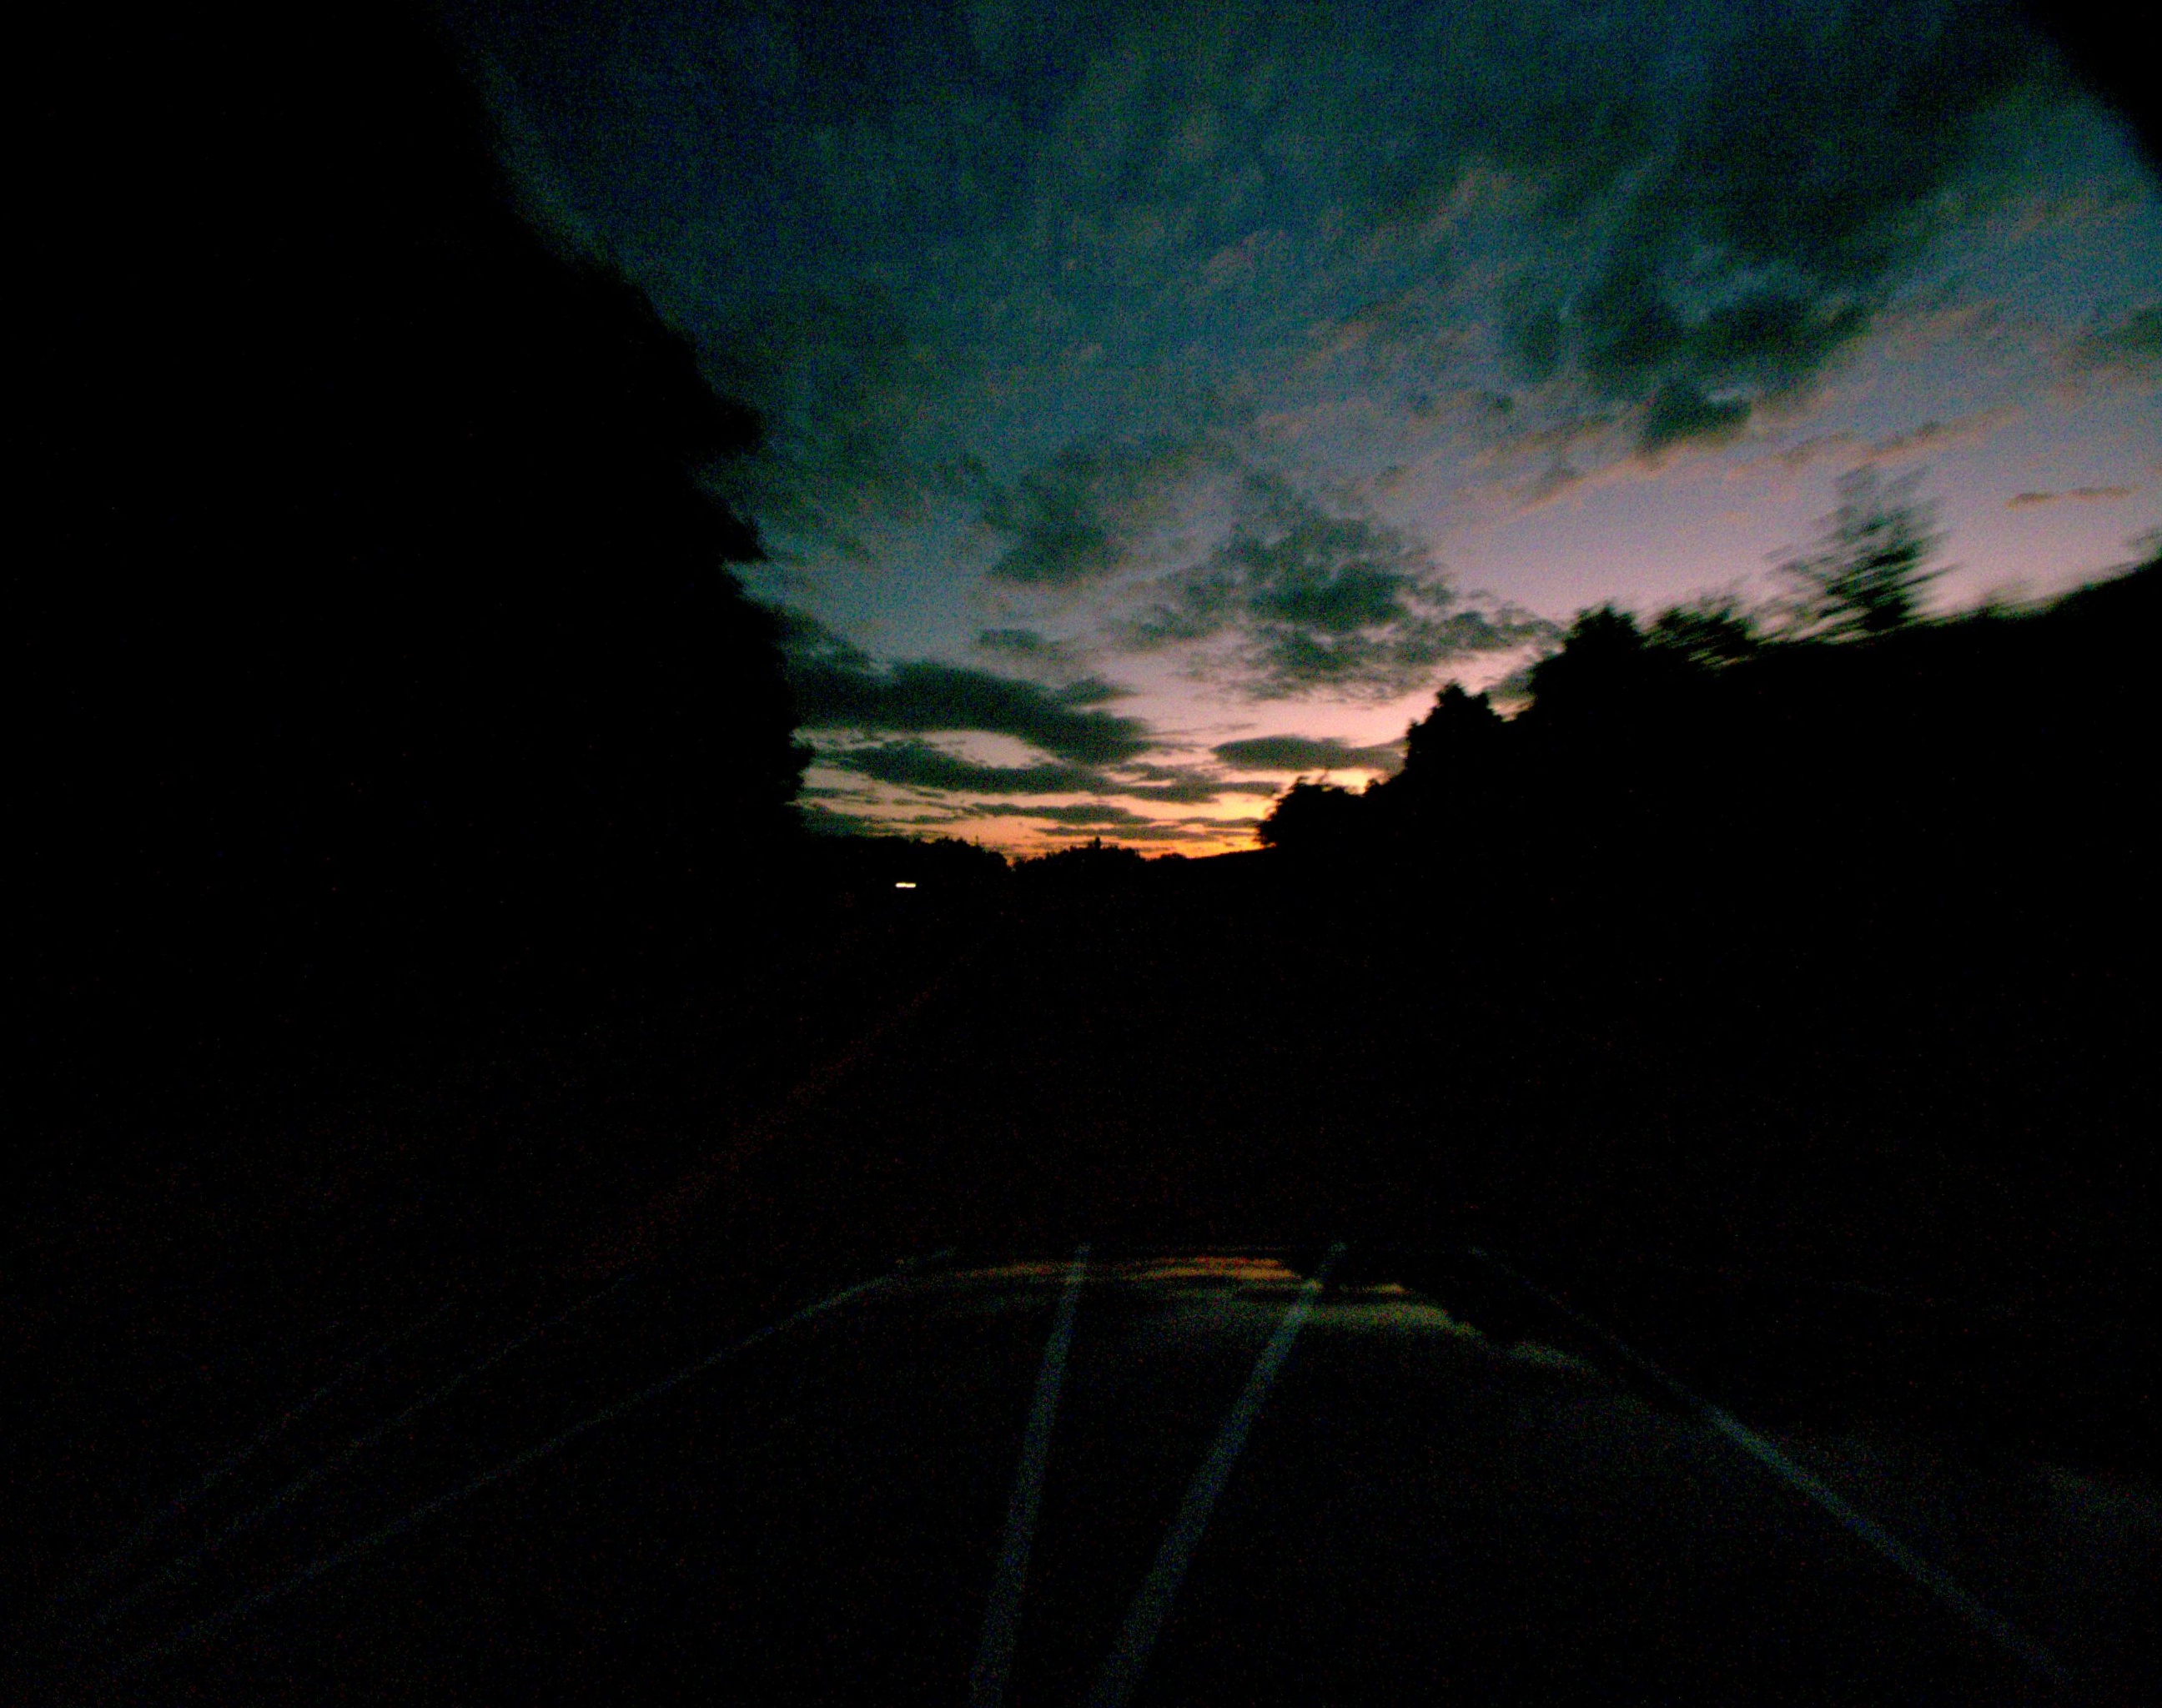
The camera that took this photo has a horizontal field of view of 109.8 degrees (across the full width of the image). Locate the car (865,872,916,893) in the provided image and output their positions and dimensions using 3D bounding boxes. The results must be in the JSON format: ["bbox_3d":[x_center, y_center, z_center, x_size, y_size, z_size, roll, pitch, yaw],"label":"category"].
[{"bbox_3d":[-24.207,3.626,96.450,6.481,2.513,2.269,-3,0,32],"label":"car"}]
